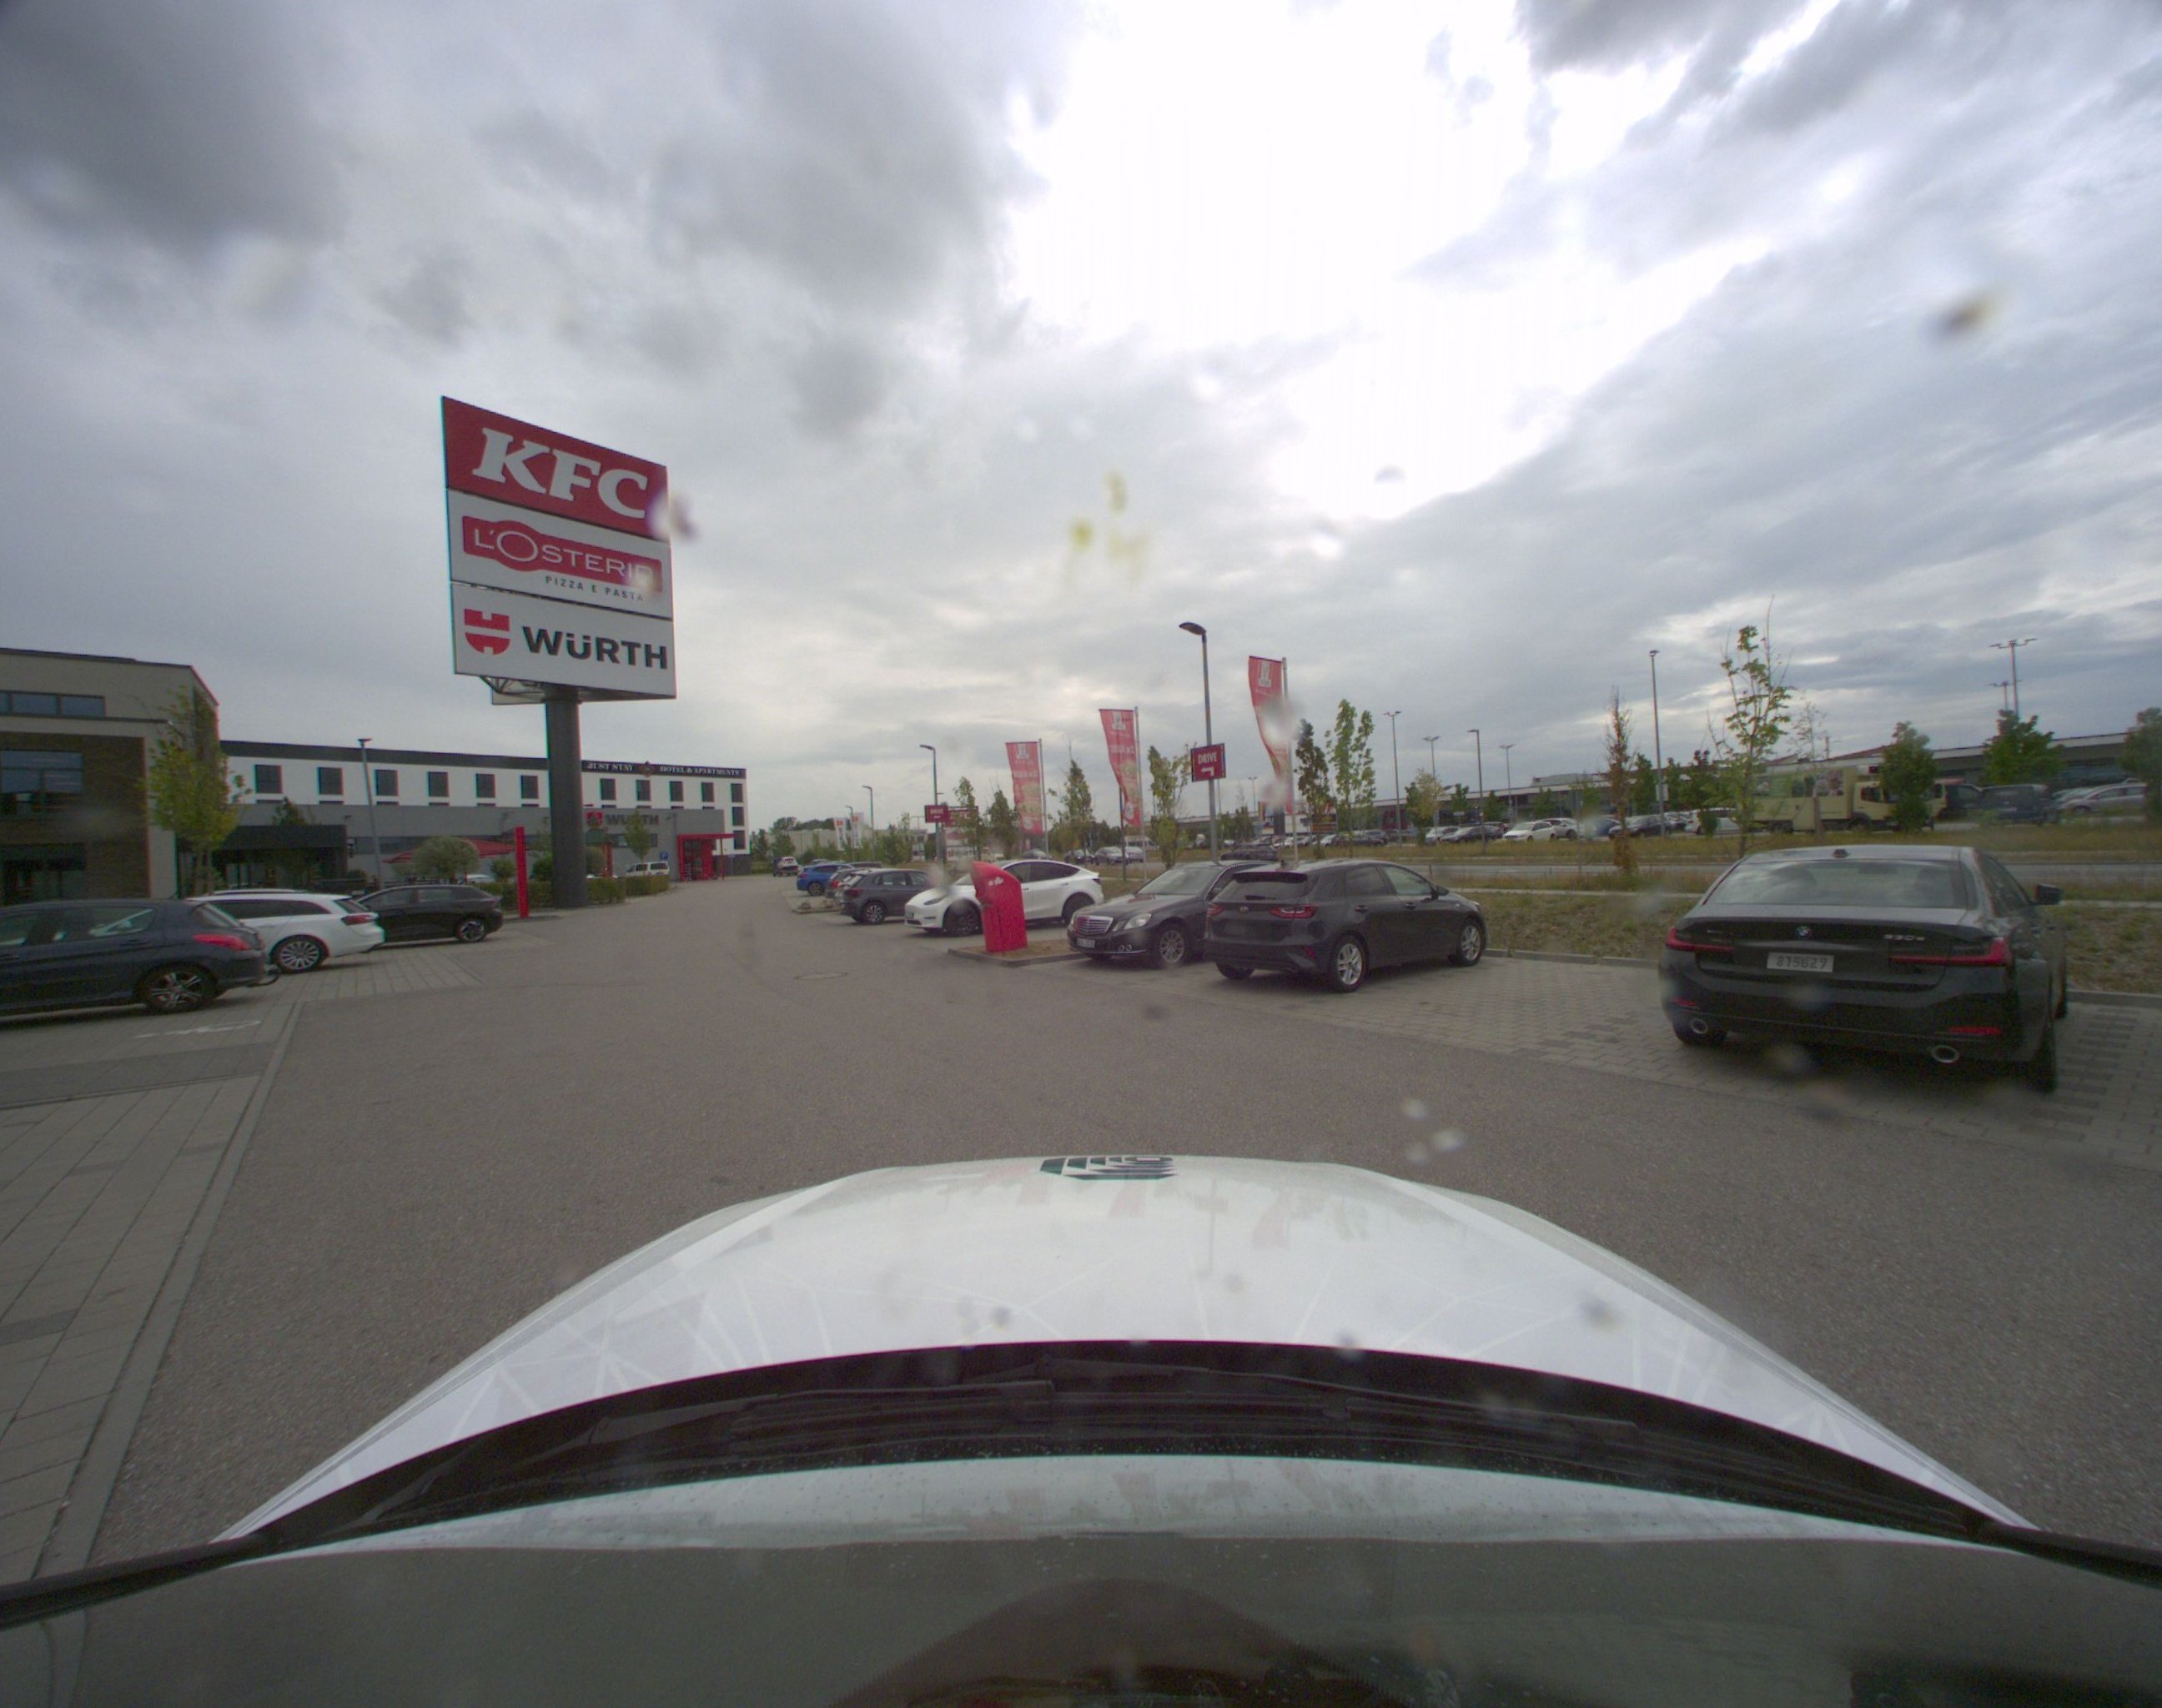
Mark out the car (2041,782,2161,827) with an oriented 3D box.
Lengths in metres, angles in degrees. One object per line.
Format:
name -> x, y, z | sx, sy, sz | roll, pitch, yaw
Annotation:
car -> 54.390, -2.602, 43.365 | 3.949, 2.013, 2.013 | -3, 1, 43

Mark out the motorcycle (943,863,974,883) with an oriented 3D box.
motorcycle -> -8.270, 1.286, 55.033 | 1.925, 1.208, 0.788 | -3, 0, -25

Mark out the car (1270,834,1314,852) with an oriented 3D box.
car -> 21.202, -1.079, 81.809 | 4.083, 1.501, 1.849 | -4, 1, -27

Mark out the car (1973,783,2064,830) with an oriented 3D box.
car -> 41.607, -2.095, 36.124 | 5.091, 1.884, 2.055 | -3, 0, -35

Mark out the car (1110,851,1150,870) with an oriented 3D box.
car -> 4.305, 0.562, 72.356 | 1.801, 1.552, 4.824 | -4, 1, -18

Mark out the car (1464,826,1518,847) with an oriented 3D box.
car -> 40.270, -1.725, 80.072 | 2.010, 1.837, 4.139 | -5, 1, -37

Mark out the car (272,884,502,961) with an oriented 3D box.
car -> -16.879, 1.593, 20.022 | 4.146, 1.528, 1.720 | -2, -1, -42

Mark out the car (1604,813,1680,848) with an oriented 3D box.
car -> 33.692, -1.399, 48.917 | 4.332, 1.771, 1.914 | -4, 1, -28

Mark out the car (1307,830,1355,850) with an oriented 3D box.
car -> 23.226, -1.273, 75.720 | 4.068, 1.539, 1.981 | -5, 1, -30

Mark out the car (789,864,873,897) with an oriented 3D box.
car -> -13.205, 1.373, 43.081 | 4.075, 1.459, 1.764 | -3, 1, -20

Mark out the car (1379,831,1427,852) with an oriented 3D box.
car -> 33.157, -1.268, 83.958 | 2.010, 1.837, 4.139 | -5, 1, -37

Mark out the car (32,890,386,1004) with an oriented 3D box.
car -> -15.569, 1.559, 14.972 | 4.202, 1.486, 1.976 | -3, 1, -41

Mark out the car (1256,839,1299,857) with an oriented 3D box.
car -> 20.331, -0.663, 84.163 | 4.068, 1.539, 1.889 | -5, 1, -30

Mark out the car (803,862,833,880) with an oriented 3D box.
car -> -26.339, 1.725, 81.493 | 1.870, 1.650, 3.958 | -1, -1, -33

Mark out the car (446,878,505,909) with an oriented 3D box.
car -> -37.396, 2.466, 50.253 | 4.519, 1.650, 2.013 | -3, 1, 43

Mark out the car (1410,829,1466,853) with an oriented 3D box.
car -> 27.639, -1.006, 63.025 | 4.065, 1.539, 1.756 | -4, 1, -28

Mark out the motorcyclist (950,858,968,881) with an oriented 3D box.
motorcyclist -> -8.273, 1.038, 55.034 | 0.943, 1.489, 0.823 | -3, 0, -25

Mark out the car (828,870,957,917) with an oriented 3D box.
car -> -6.364, 1.279, 27.502 | 3.947, 1.412, 1.824 | -1, -1, -26

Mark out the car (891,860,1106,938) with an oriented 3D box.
car -> -1.846, 0.964, 18.787 | 4.561, 1.541, 1.906 | -1, -1, -32

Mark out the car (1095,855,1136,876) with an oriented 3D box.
car -> 2.762, 0.930, 65.699 | 1.831, 1.459, 3.973 | -4, 1, -20

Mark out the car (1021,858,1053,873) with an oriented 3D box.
car -> -4.490, 1.151, 82.531 | 1.772, 1.394, 4.183 | -3, 0, -26

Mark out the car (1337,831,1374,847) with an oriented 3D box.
car -> 36.642, -2.009, 108.838 | 2.009, 1.837, 4.140 | -5, 1, -36

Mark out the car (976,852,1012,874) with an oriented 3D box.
car -> -9.286, 0.931, 86.552 | 2.004, 2.086, 5.185 | -3, 1, -26

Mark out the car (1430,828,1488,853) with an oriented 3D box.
car -> 28.178, -1.012, 60.724 | 4.065, 1.539, 1.756 | -4, 1, -28

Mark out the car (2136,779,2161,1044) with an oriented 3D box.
car -> 7.545, 0.386, 4.464 | 4.394, 1.713, 1.969 | -1, -1, -39

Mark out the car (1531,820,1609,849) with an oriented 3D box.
car -> 34.757, -1.345, 57.965 | 1.929, 1.771, 4.276 | -4, 1, -33

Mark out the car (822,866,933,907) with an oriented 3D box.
car -> -7.975, 1.222, 31.939 | 4.005, 1.428, 1.714 | -1, 0, -24

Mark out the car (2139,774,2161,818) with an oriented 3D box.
car -> 43.898, -2.379, 32.305 | 5.097, 1.638, 2.053 | -5, 2, -40

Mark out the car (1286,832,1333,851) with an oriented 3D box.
car -> 22.014, -1.224, 78.403 | 4.068, 1.539, 1.981 | -5, 1, -30

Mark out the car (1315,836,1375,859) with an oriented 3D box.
car -> 21.325, -0.545, 65.756 | 4.158, 1.539, 1.988 | -4, 1, -18

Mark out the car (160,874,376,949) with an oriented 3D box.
car -> -22.151, 1.511, 22.460 | 4.022, 1.596, 1.715 | -5, 1, -42

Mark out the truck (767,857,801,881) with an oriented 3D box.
truck -> -34.894, 1.790, 95.501 | 2.346, 2.407, 7.818 | -1, -3, -30

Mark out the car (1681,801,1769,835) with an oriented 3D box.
car -> 40.529, -2.268, 51.380 | 3.949, 1.771, 2.013 | -4, 1, 28

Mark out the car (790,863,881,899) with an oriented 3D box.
car -> -12.315, 1.296, 40.782 | 4.218, 1.544, 1.851 | -2, 0, -21

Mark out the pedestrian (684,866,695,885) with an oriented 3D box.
pedestrian -> -38.139, 2.139, 79.364 | 0.683, 1.802, 0.869 | -2, 0, -45

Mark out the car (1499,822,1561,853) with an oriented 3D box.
car -> 30.680, -1.136, 55.636 | 4.340, 1.771, 1.978 | -5, 1, -35

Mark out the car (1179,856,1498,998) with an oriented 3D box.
car -> 3.370, 0.768, 10.336 | 4.090, 1.412, 1.867 | -1, -1, -38

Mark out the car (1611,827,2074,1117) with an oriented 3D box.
car -> 6.068, 0.599, 6.294 | 4.538, 1.466, 1.925 | -1, -1, -38

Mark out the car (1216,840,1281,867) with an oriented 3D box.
car -> 10.880, -0.028, 53.202 | 1.803, 1.552, 4.820 | -4, 1, -21

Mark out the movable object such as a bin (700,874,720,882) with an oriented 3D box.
movable object such as a bin -> -35.771, 2.336, 78.625 | 0.953, 0.704, 1.502 | -3, -1, 45

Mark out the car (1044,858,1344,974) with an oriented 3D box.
car -> 1.916, 0.840, 12.882 | 4.764, 1.456, 1.890 | -1, -1, -37

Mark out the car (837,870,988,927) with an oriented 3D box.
car -> -4.721, 1.197, 22.841 | 3.818, 1.412, 1.722 | -1, -1, -29

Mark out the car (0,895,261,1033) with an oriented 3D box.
car -> -13.038, 1.339, 10.063 | 3.961, 1.487, 1.737 | -1, -1, -41

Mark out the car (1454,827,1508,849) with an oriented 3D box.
car -> 38.440, -1.569, 78.276 | 2.010, 1.837, 4.139 | -5, 1, -37

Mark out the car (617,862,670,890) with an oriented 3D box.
car -> -36.771, 1.856, 68.460 | 4.009, 1.854, 2.076 | -4, 4, 34

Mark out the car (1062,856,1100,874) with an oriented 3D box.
car -> -0.040, 0.968, 73.633 | 1.858, 1.499, 4.252 | -3, 0, -22

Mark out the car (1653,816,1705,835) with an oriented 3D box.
car -> 66.555, -3.164, 90.670 | 2.010, 1.837, 4.139 | -5, 1, -37

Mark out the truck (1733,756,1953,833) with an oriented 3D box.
truck -> 38.230, -2.853, 41.439 | 3.012, 3.195, 8.426 | -4, 1, -2

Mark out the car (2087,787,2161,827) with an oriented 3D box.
car -> 52.039, -2.320, 39.508 | 1.901, 1.738, 3.953 | -5, 1, -40
